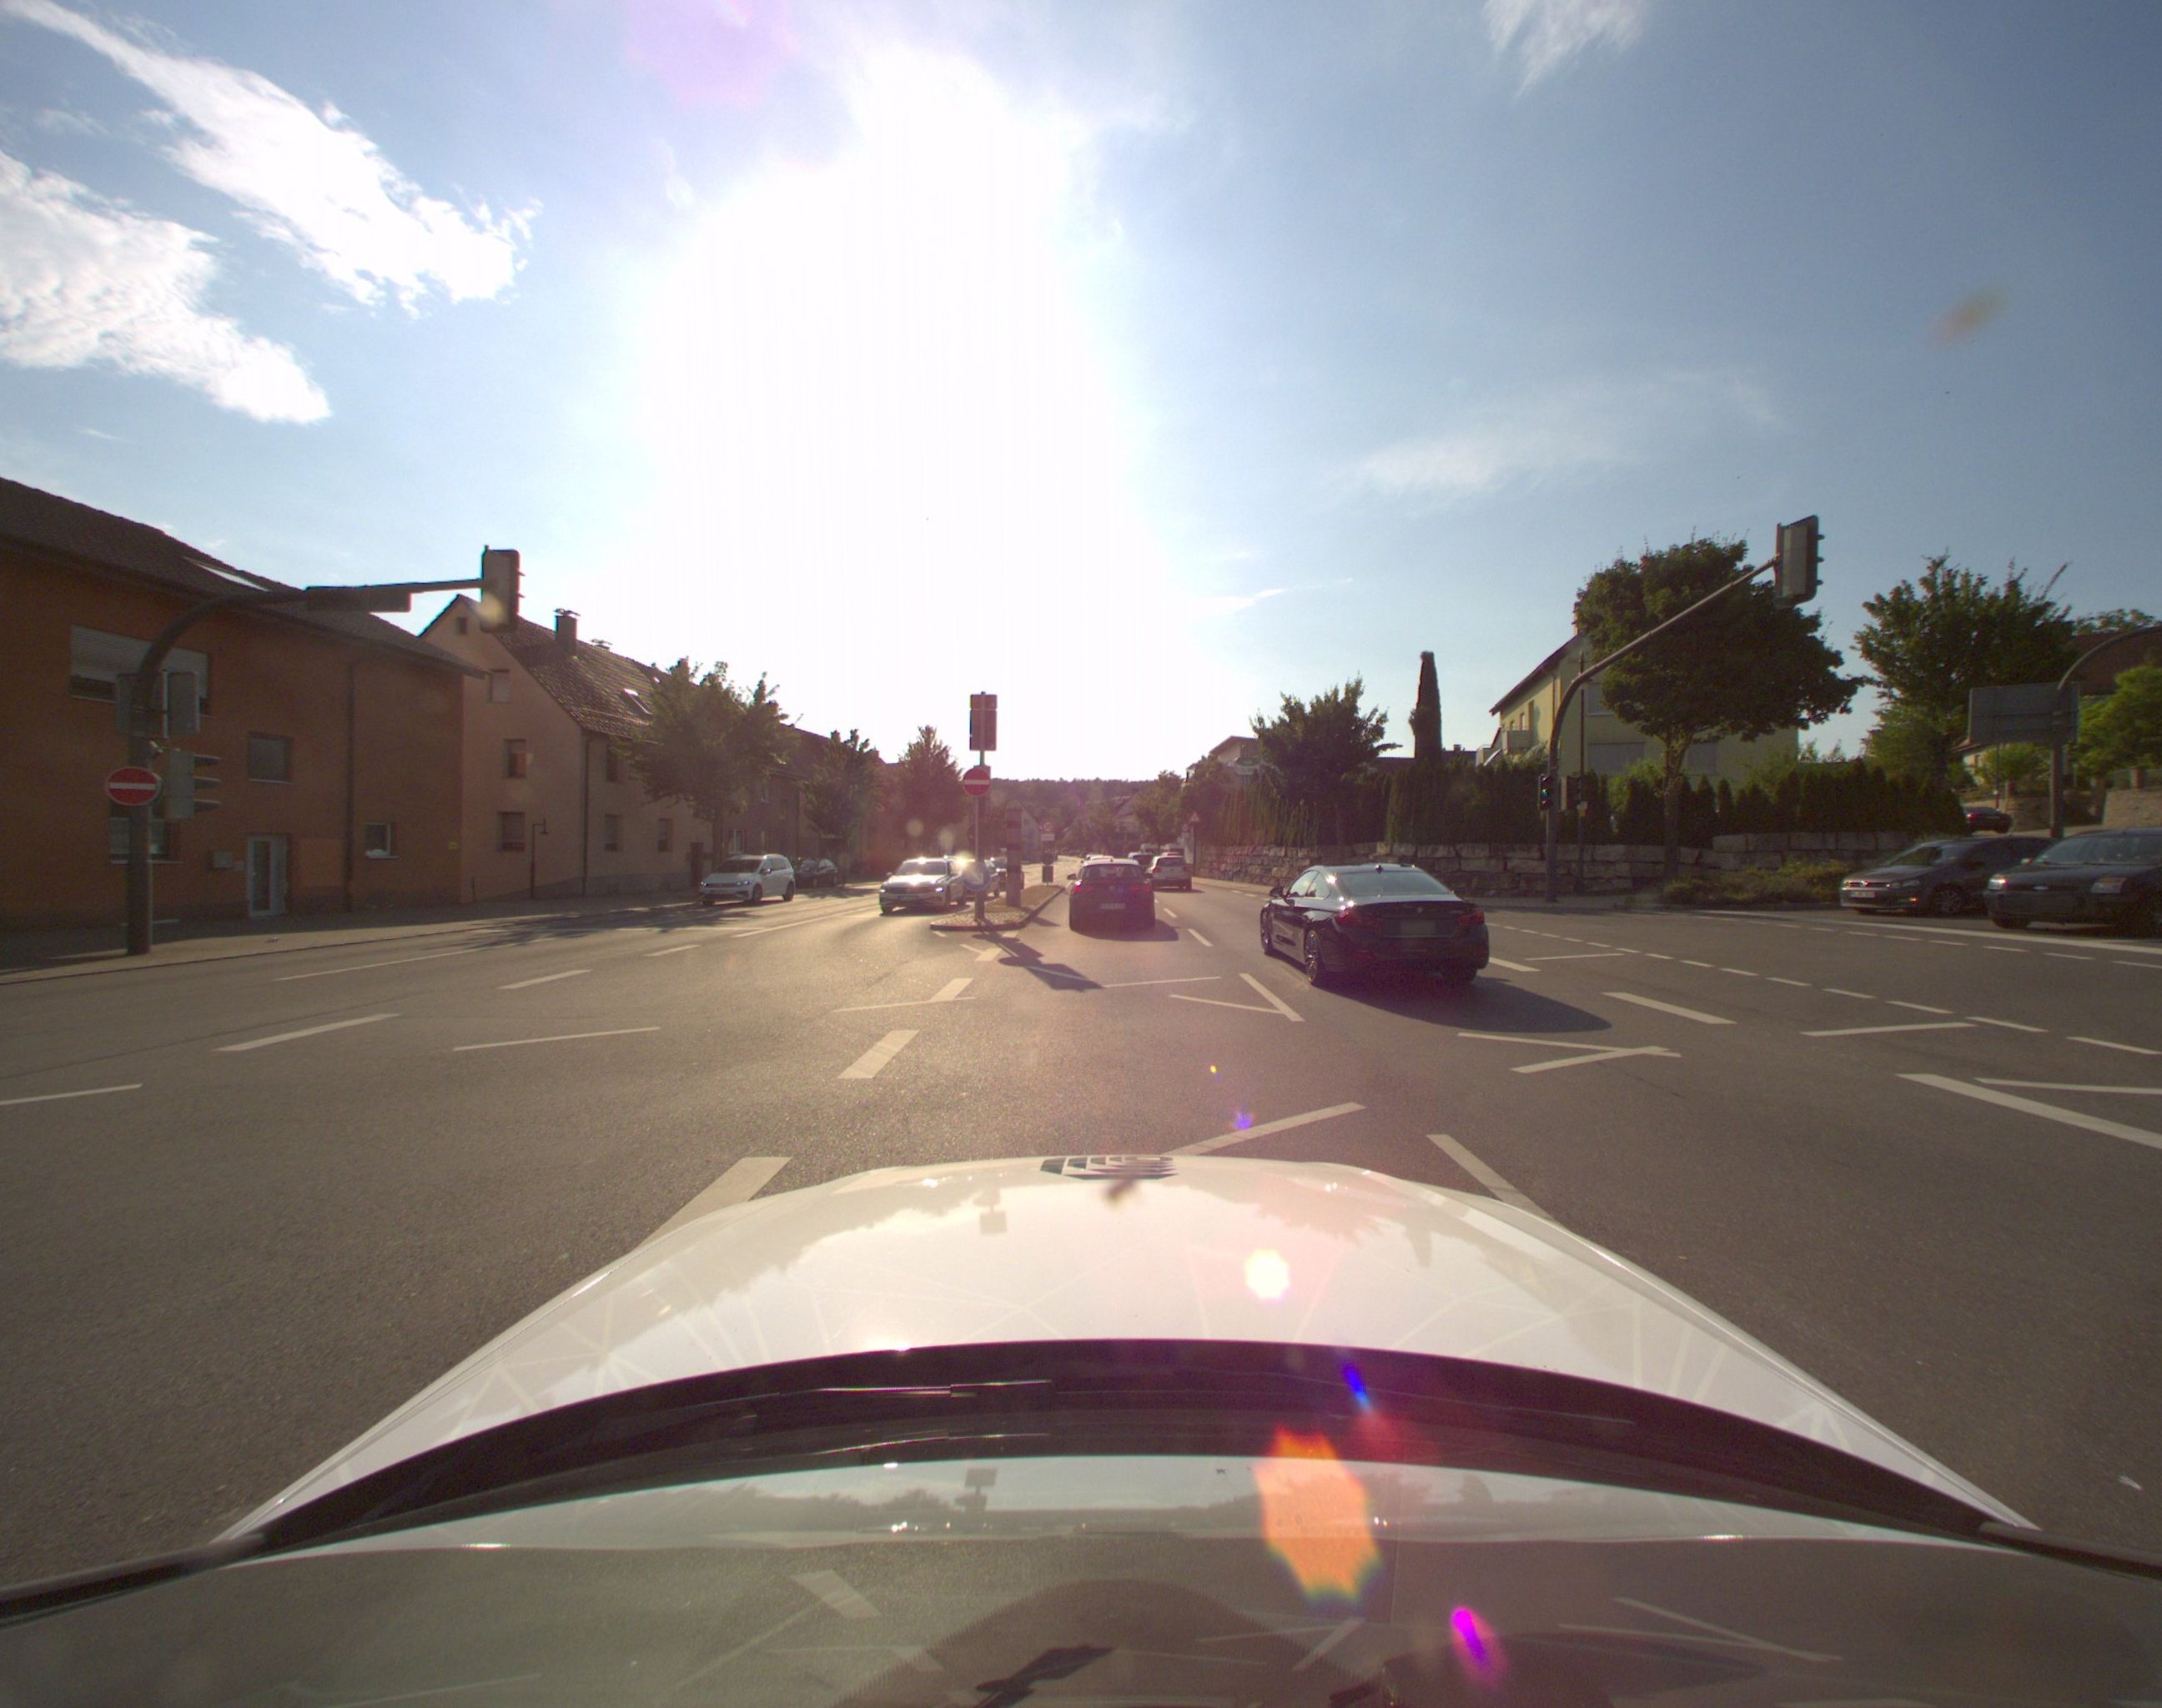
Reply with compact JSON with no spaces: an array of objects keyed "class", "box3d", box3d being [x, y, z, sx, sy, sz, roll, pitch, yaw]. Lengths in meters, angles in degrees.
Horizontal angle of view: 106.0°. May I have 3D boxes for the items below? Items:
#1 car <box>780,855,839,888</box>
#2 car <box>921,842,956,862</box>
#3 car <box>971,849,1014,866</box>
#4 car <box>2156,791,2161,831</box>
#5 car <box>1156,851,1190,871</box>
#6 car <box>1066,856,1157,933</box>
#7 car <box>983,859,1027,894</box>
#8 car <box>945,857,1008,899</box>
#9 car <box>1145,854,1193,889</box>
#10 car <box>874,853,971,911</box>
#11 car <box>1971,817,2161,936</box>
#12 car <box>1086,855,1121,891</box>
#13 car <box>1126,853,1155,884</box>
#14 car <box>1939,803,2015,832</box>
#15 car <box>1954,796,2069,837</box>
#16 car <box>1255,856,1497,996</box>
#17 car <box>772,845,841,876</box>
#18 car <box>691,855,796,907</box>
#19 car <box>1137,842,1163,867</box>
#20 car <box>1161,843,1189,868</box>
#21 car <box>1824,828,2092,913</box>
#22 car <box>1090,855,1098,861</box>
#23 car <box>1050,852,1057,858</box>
[{"class":"car","box3d":[-13.619,0.838,41.070,1.613,1.510,4.132,0,0,0]},{"class":"car","box3d":[-11.622,-0.156,66.586,1.657,1.487,4.007,2,0,6]},{"class":"car","box3d":[-13.131,0.477,121.090,6.139,2.444,2.249,1,0,-1]},{"class":"car","box3d":[40.313,-1.591,28.310,1.845,1.494,4.023,0,0,24]},{"class":"car","box3d":[7.706,0.558,68.569,1.833,1.649,4.526,0,0,-8]},{"class":"car","box3d":[0.626,0.798,17.752,1.765,1.456,3.516,-1,0,1]},{"class":"car","box3d":[-3.427,0.991,37.284,1.526,1.462,3.508,0,0,2]},{"class":"car","box3d":[-3.703,0.830,29.402,1.582,1.427,3.581,-1,0,4]},{"class":"car","box3d":[3.751,0.719,35.015,1.748,1.414,3.422,0,0,1]},{"class":"car","box3d":[-4.474,0.731,23.689,1.828,1.488,4.567,0,0,1]},{"class":"car","box3d":[15.886,0.258,12.230,3.786,1.542,1.593,-3,0,-10]},{"class":"car","box3d":[1.063,0.887,39.127,1.586,1.600,3.894,0,0,1]},{"class":"car","box3d":[3.505,0.811,48.222,1.597,1.767,3.412,0,0,2]},{"class":"car","box3d":[47.045,-1.871,42.846,1.794,1.344,4.026,0,0,35]},{"class":"car","box3d":[40.897,-1.586,35.931,1.975,1.643,4.024,0,0,27]},{"class":"car","box3d":[3.484,0.751,10.496,1.693,1.369,4.264,-1,0,2]},{"class":"car","box3d":[-17.748,0.424,52.768,3.805,1.881,1.780,2,0,3]},{"class":"car","box3d":[-11.421,0.859,27.897,1.680,1.612,4.414,0,0,1]},{"class":"car","box3d":[7.641,0.044,90.542,2.144,2.680,6.598,0,0,-2]},{"class":"car","box3d":[10.427,0.114,90.899,2.106,2.722,6.438,0,0,-2]},{"class":"car","box3d":[17.019,0.311,15.913,3.590,1.450,1.625,-2,-1,-3]},{"class":"car","box3d":[2.918,0.917,186.857,1.592,1.485,3.473,1,0,-1]},{"class":"car","box3d":[-6.796,0.172,199.504,1.592,1.485,3.473,1,0,-1]}]
